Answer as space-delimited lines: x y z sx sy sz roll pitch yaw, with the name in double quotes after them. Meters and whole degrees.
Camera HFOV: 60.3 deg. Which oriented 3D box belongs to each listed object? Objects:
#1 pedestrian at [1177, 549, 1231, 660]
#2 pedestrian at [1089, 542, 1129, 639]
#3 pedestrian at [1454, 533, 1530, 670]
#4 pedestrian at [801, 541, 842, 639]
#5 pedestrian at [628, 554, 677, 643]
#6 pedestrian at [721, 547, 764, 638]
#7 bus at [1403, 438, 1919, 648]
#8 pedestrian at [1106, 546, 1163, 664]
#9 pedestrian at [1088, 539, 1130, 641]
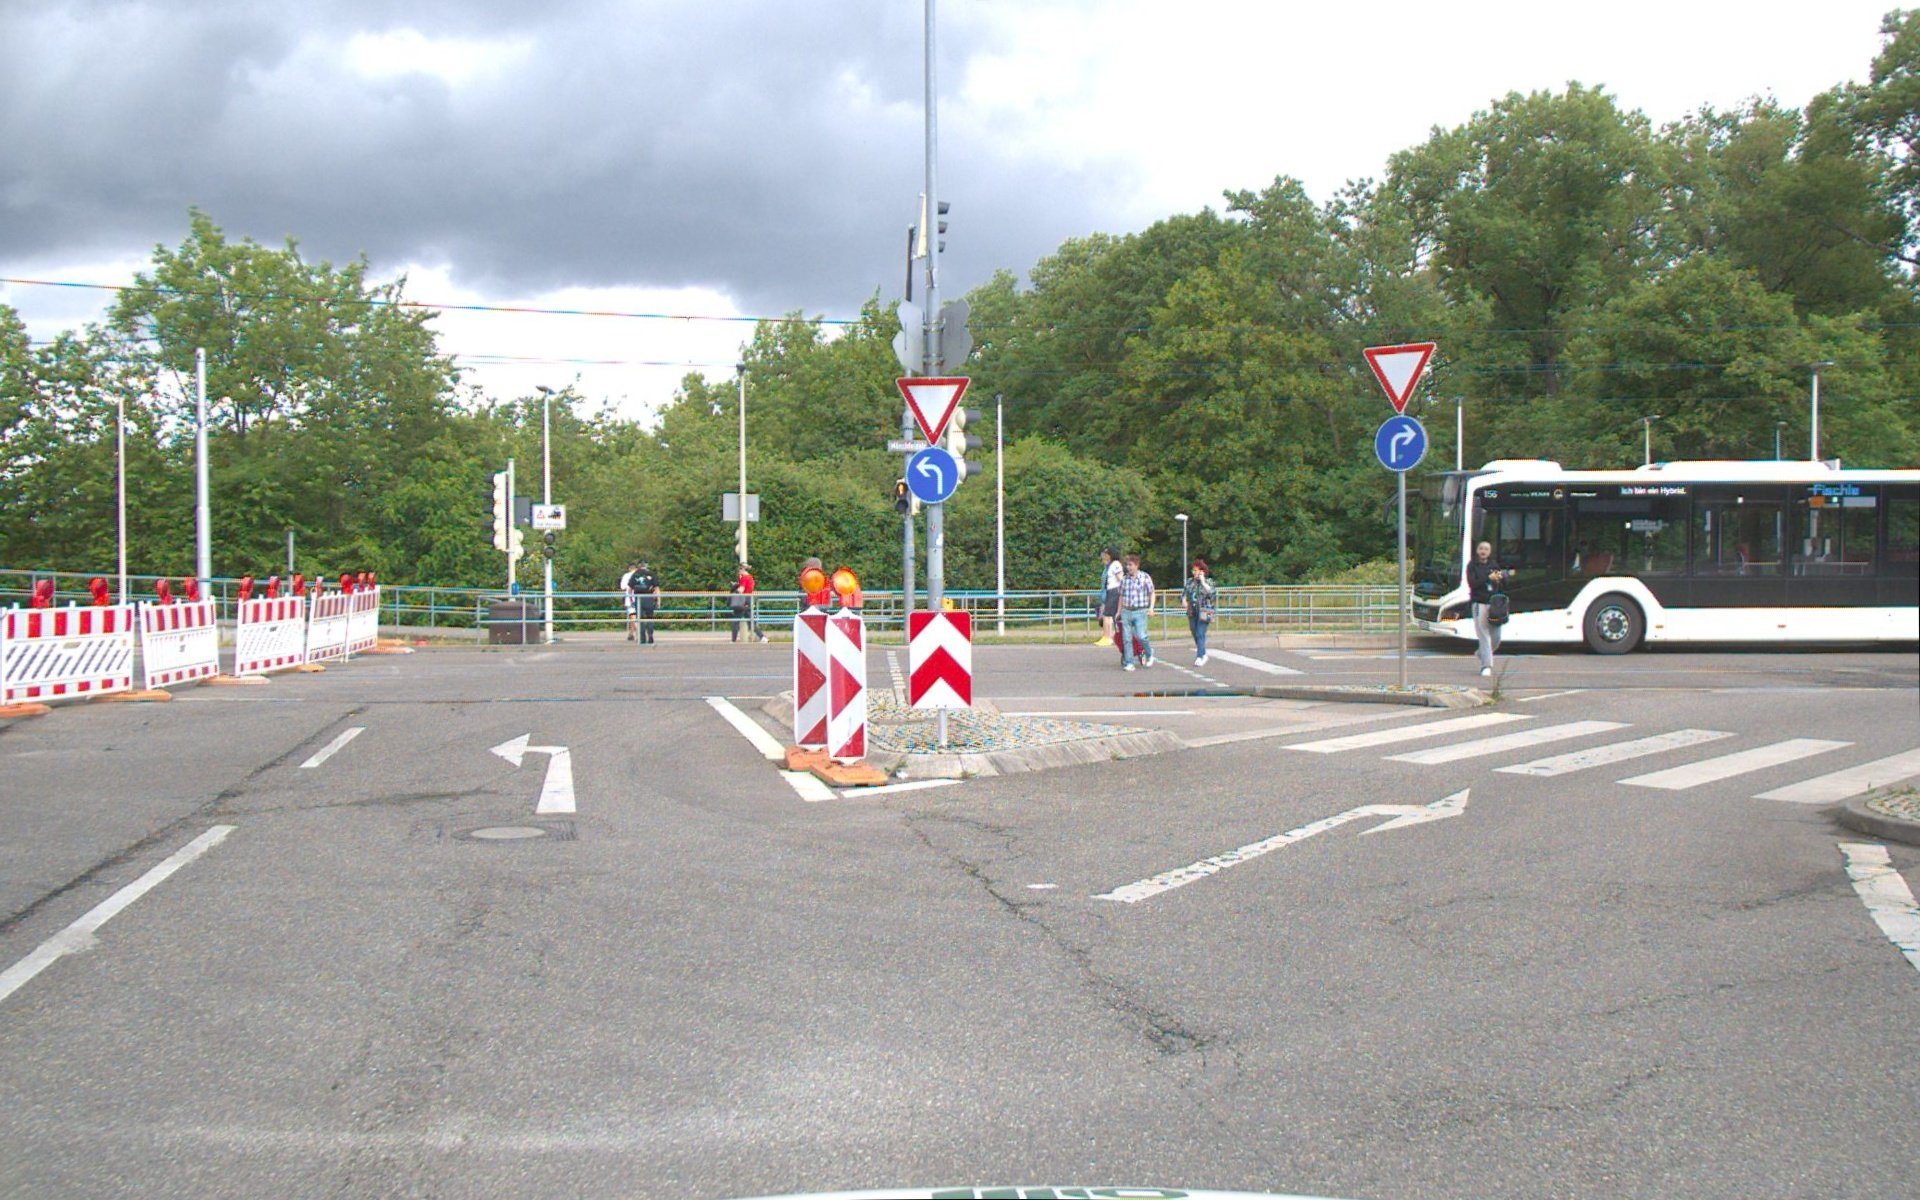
3.598 0.055 24.361 0.675 1.594 0.733 0 1 17 "pedestrian"
2.777 -0.185 30.867 0.705 1.778 0.958 0 1 4 "pedestrian"
7.127 0.004 22.197 0.934 1.777 1.063 0 1 17 "pedestrian"
-2.534 -0.186 30.388 0.706 1.778 0.957 0 1 -2 "pedestrian"
-6.209 -0.032 33.401 0.936 1.778 0.721 0 1 -8 "pedestrian"
-4.011 -0.147 30.554 0.706 1.649 0.805 0 1 -2 "pedestrian"
13.688 -0.960 27.622 11.915 3.258 2.674 -1 1 -2 "bus"
2.491 0.063 23.587 0.682 1.662 0.723 0 1 17 "pedestrian"
2.649 -0.188 29.481 0.705 1.778 0.958 0 1 4 "pedestrian"
